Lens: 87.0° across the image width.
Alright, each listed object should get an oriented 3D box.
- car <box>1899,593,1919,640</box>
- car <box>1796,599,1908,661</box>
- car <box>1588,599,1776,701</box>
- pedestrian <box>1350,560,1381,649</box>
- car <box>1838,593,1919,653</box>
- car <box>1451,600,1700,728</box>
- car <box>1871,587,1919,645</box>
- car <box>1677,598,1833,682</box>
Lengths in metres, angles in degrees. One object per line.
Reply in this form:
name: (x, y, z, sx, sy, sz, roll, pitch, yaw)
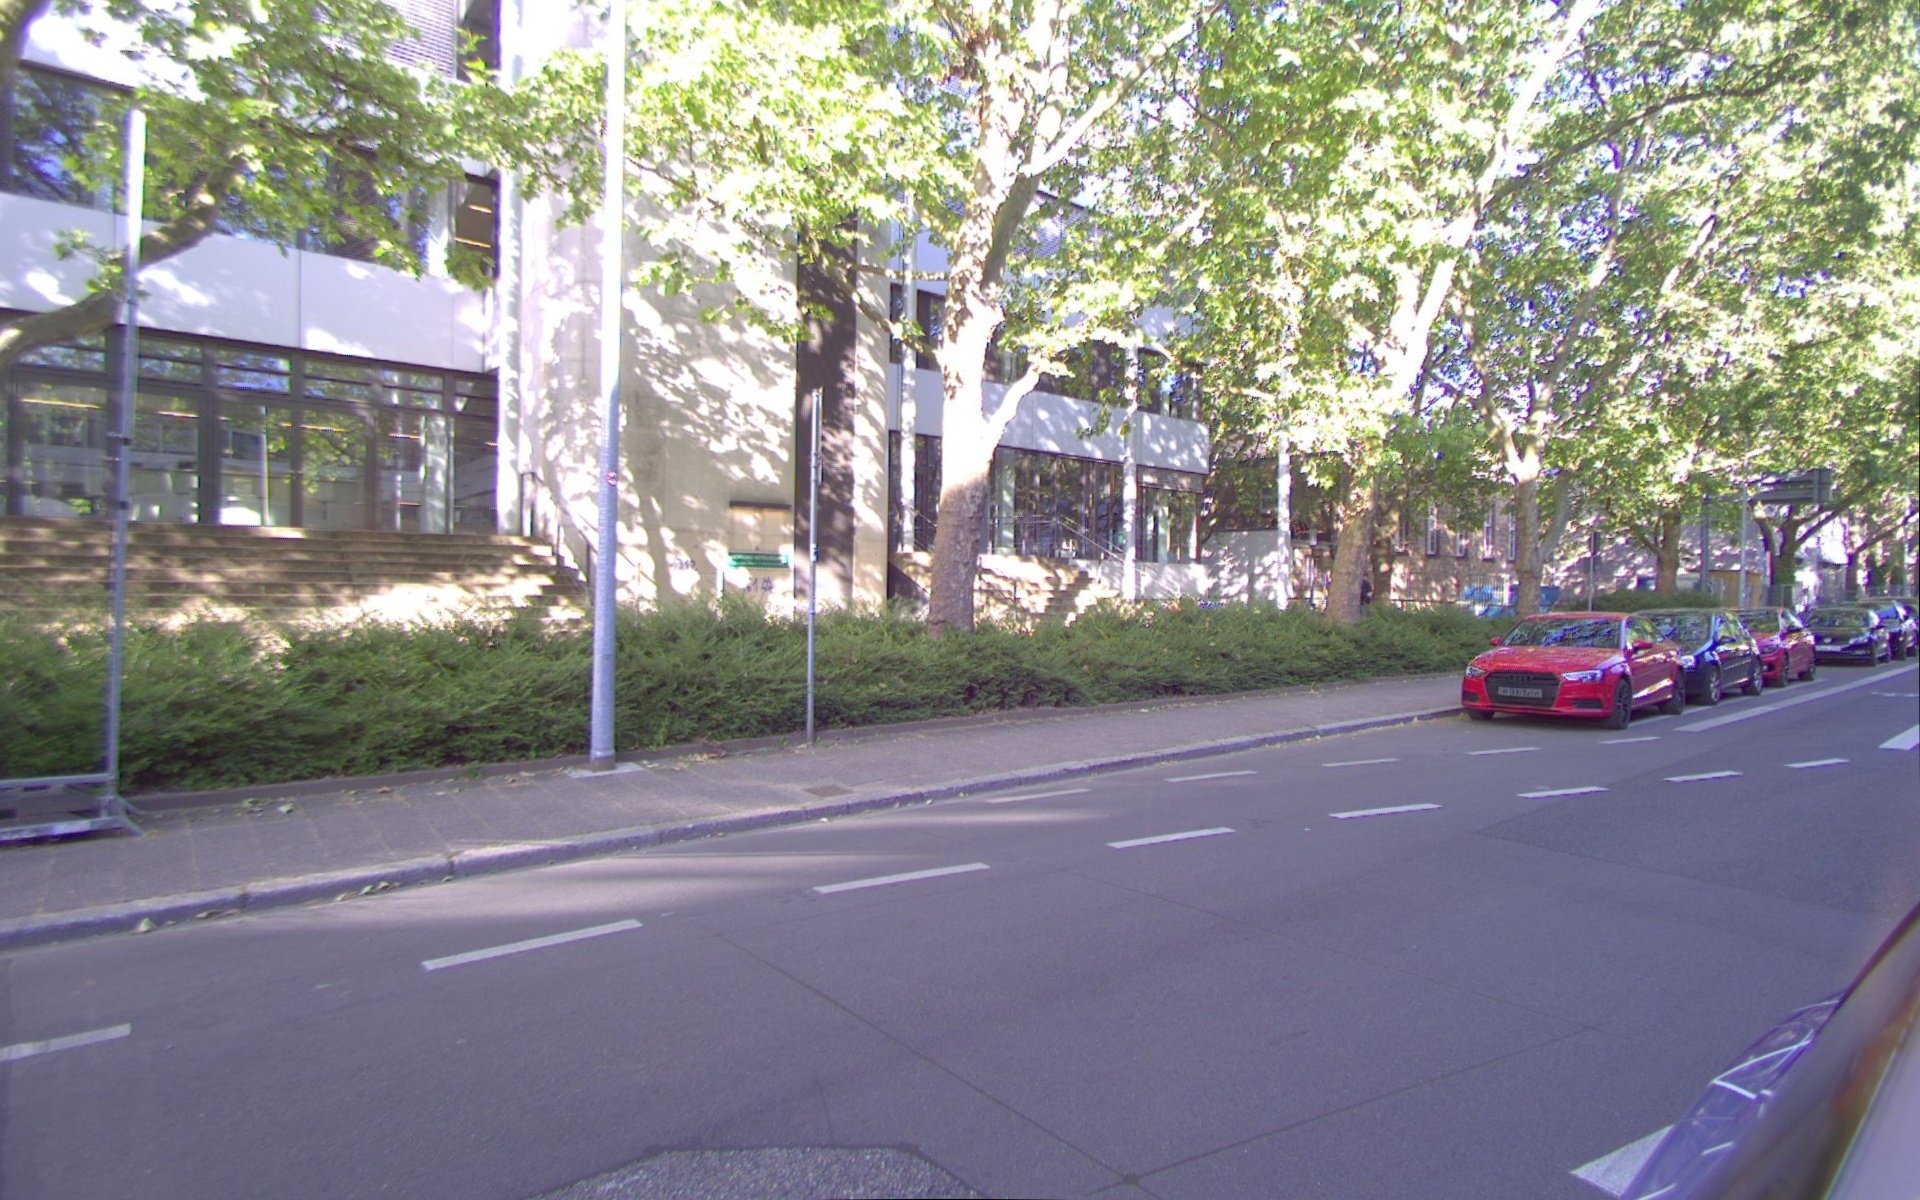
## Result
car: (35.536, 0.568, 36.793, 4.497, 1.633, 1.632, -1, 0, -41)
car: (22.949, 0.708, 25.995, 3.855, 1.441, 1.691, -1, 0, -41)
car: (11.857, 0.727, 16.553, 3.632, 1.436, 1.668, -1, 0, -40)
pedestrian: (9.497, 0.103, 23.702, 0.549, 2.039, 0.555, 0, 0, 38)
car: (26.634, 0.600, 29.053, 4.158, 1.598, 1.632, -1, 0, -41)
car: (8.302, 0.734, 13.523, 3.931, 1.409, 1.792, -1, 0, -42)
car: (31.172, 0.469, 33.022, 4.497, 1.814, 1.632, -1, 0, -41)
car: (15.744, 0.705, 19.980, 3.854, 1.467, 1.691, -1, 0, -40)
